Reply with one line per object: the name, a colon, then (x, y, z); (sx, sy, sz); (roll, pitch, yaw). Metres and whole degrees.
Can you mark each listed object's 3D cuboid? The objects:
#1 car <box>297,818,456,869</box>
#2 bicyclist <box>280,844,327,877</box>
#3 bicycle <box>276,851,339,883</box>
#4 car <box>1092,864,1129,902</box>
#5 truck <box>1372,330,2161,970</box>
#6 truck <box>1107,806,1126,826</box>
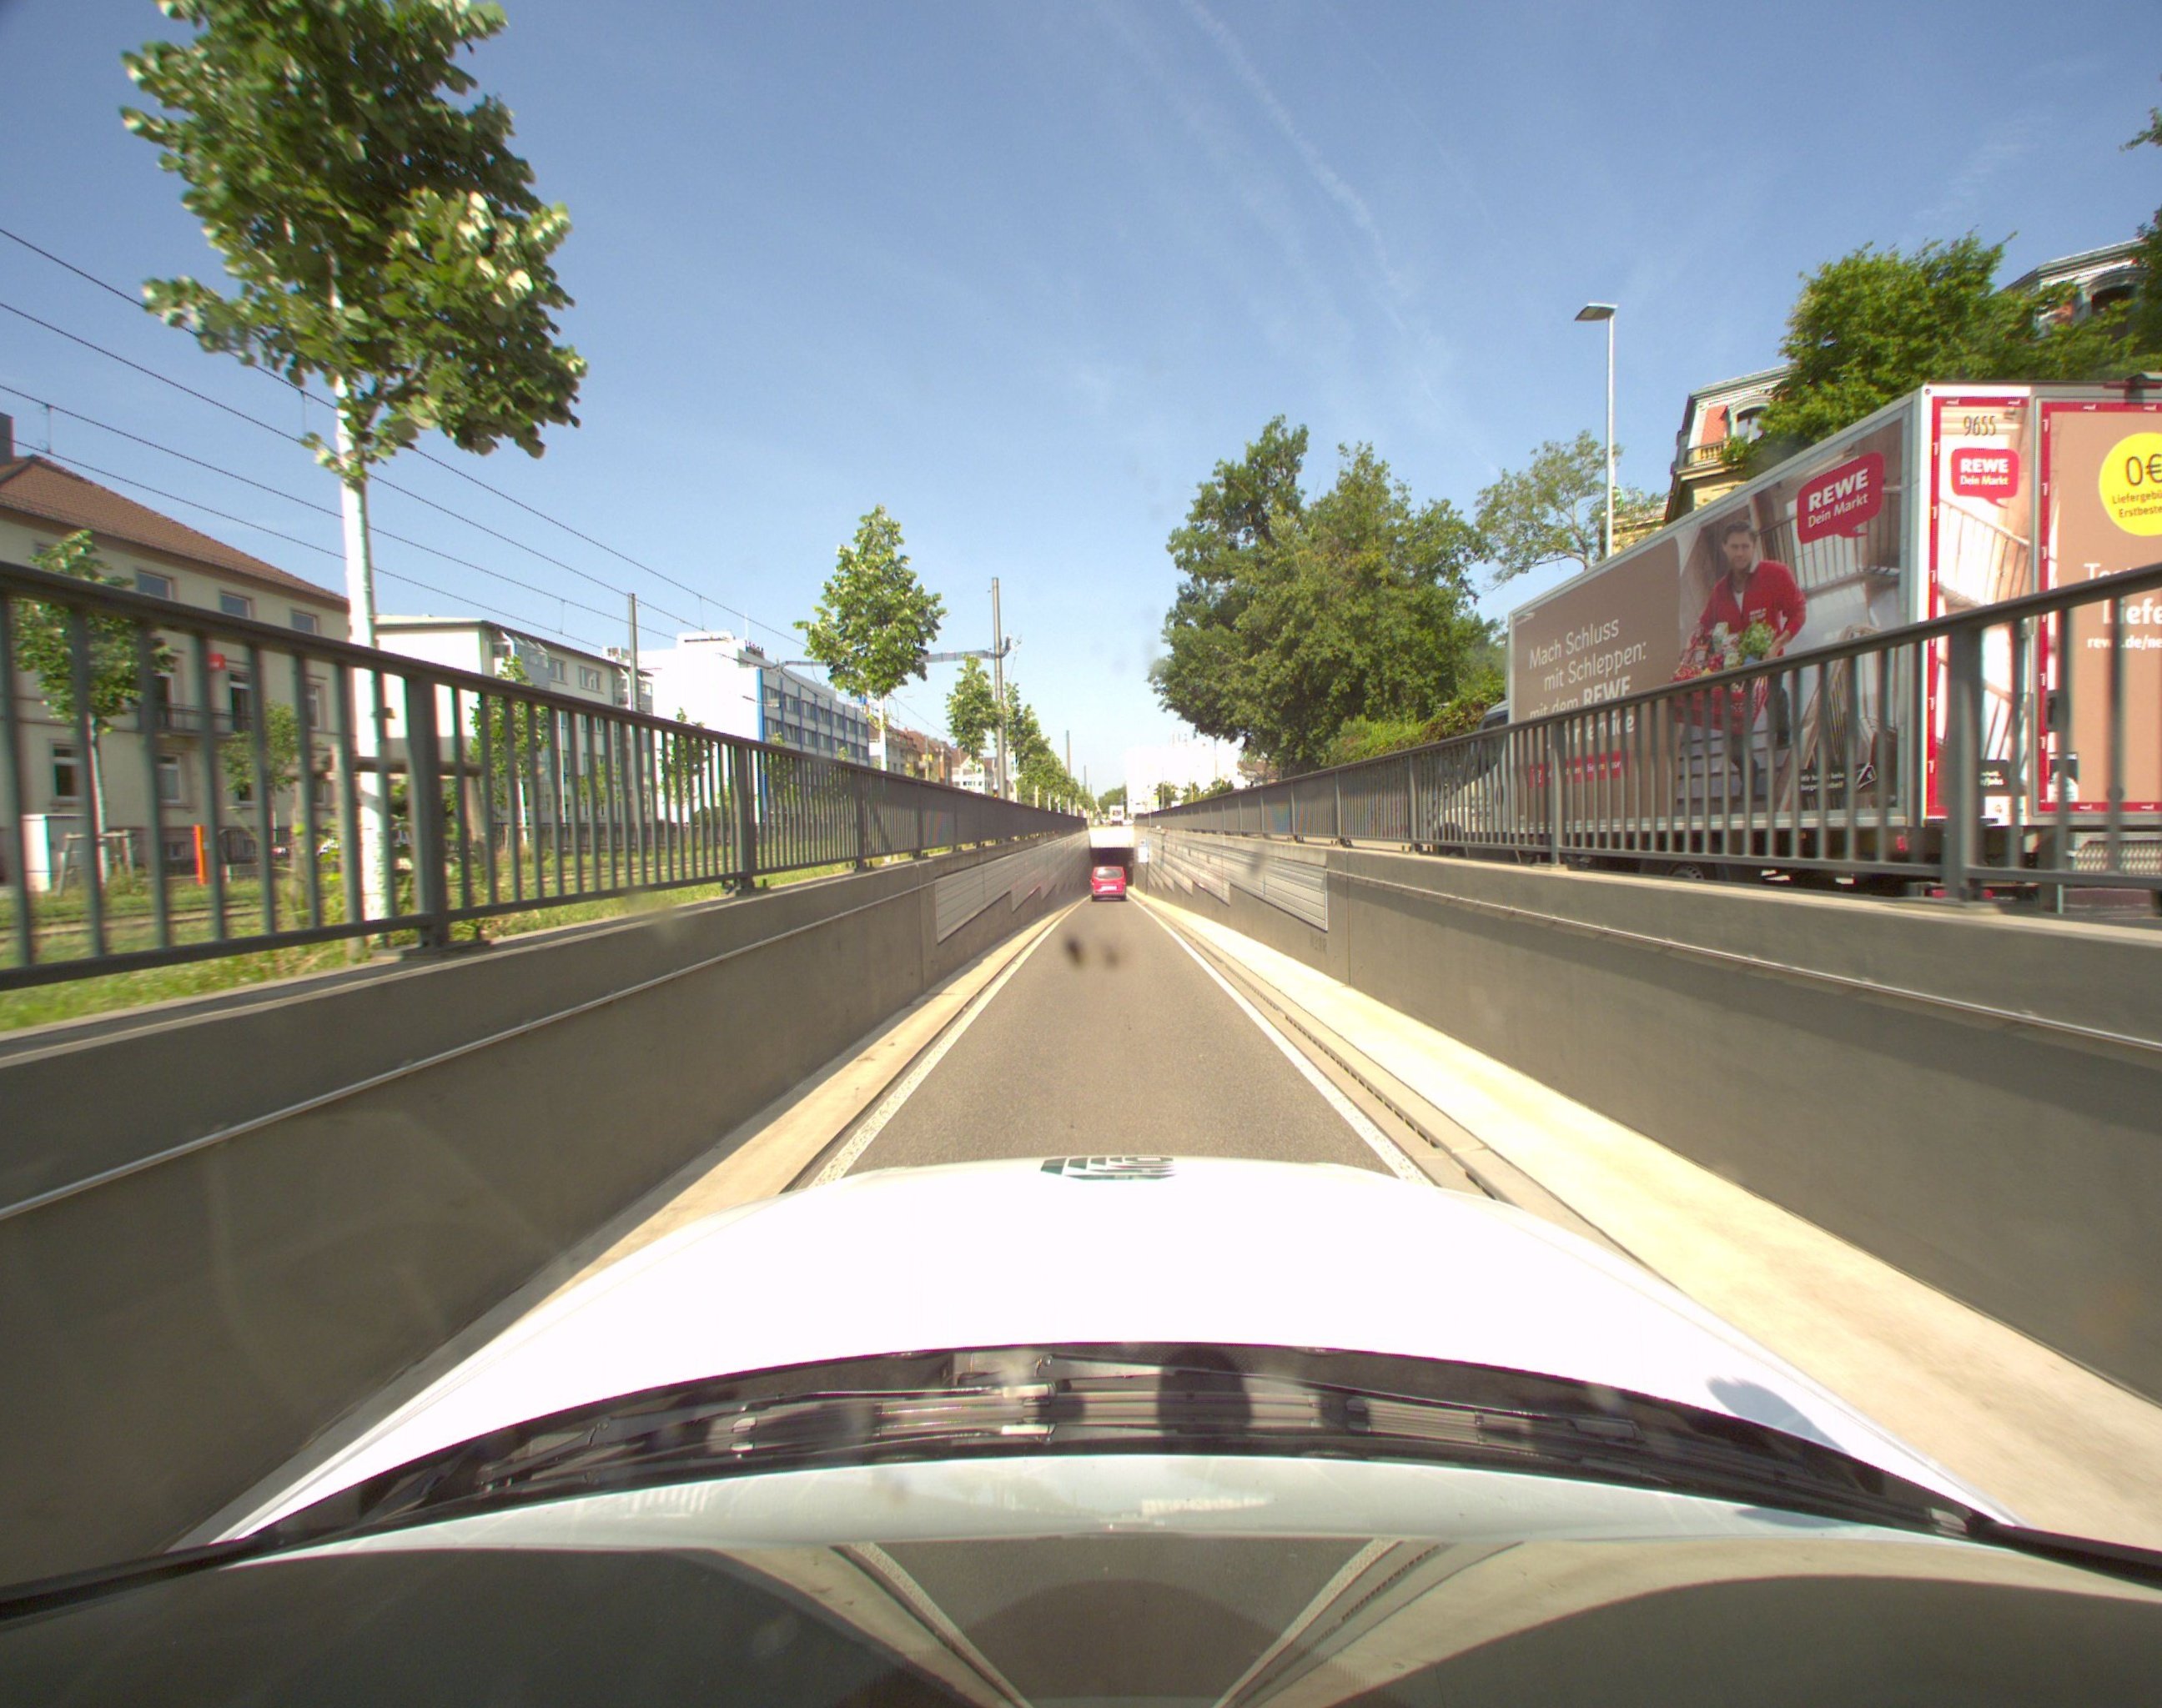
car: (-30.350, -0.434, 35.375); (2.242, 2.013, 5.264); (1, 0, 1)
bicyclist: (-28.529, 0.239, 29.905); (0.530, 1.178, 1.251); (1, 0, 0)
bicycle: (-28.526, 0.468, 30.065); (0.530, 1.093, 1.876); (1, 1, 0)
car: (1.588, 1.526, 44.294); (1.894, 1.859, 4.002); (1, 0, 2)
truck: (5.408, -1.074, 7.847); (2.493, 3.060, 7.822); (1, 2, 1)
truck: (6.888, -7.402, 158.618); (3.378, 3.725, 10.458); (-2, 2, 2)
